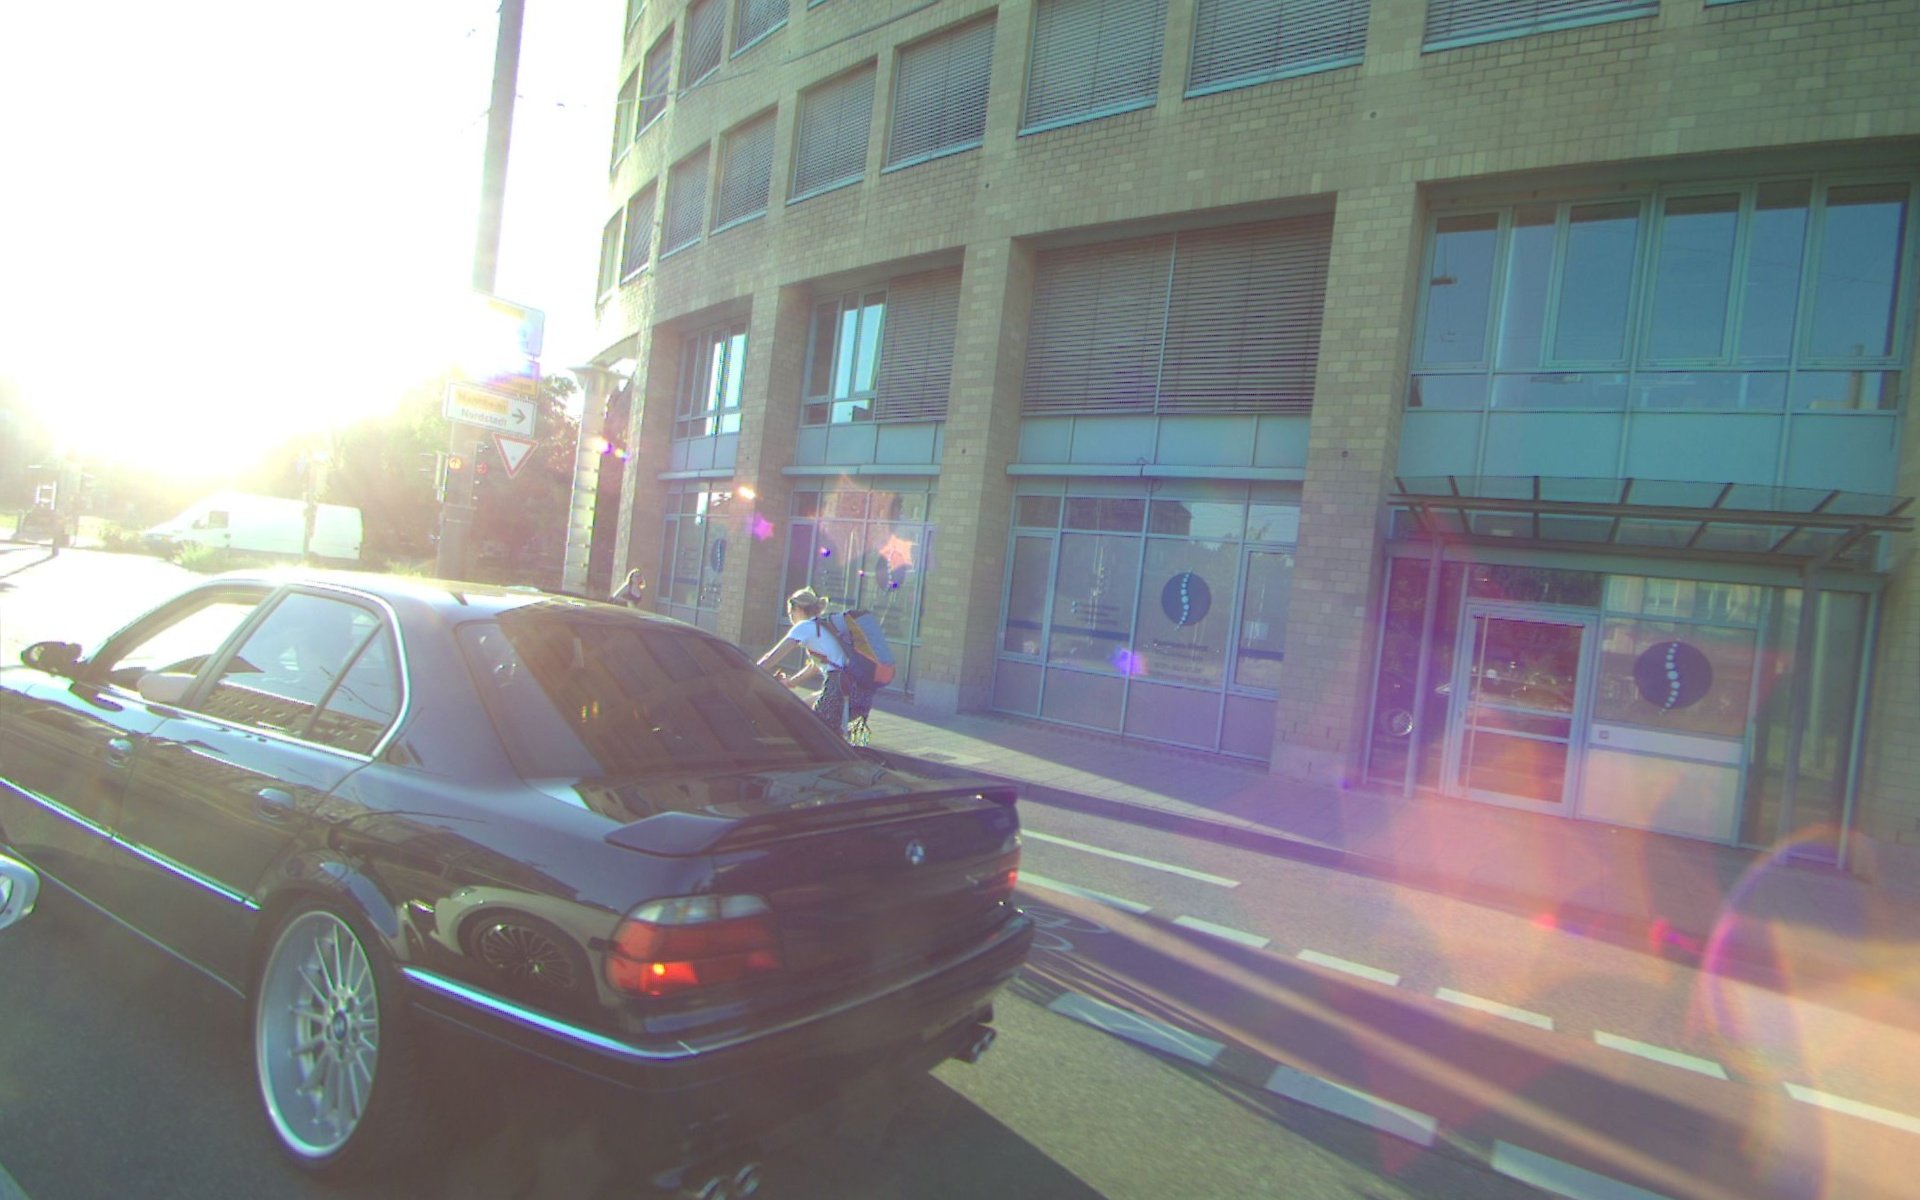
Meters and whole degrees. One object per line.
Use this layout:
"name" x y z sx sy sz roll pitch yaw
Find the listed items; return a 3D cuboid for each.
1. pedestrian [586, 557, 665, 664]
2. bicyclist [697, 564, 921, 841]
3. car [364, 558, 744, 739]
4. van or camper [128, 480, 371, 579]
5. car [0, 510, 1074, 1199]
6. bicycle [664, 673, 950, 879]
"pedestrian" -5.332 0.176 16.039 0.786 1.589 0.678 8 2 30
"bicyclist" -0.935 0.606 6.258 1.020 1.500 0.656 7 -1 30
"car" -4.715 0.501 11.532 4.195 1.370 1.787 8 -1 31
"van or camper" -27.092 -2.595 38.724 2.556 2.708 7.047 8 1 34
"car" -2.102 0.590 3.751 4.564 1.370 1.833 8 -1 32
"bicycle" -0.987 1.044 6.303 1.745 0.965 0.516 5 -2 30
